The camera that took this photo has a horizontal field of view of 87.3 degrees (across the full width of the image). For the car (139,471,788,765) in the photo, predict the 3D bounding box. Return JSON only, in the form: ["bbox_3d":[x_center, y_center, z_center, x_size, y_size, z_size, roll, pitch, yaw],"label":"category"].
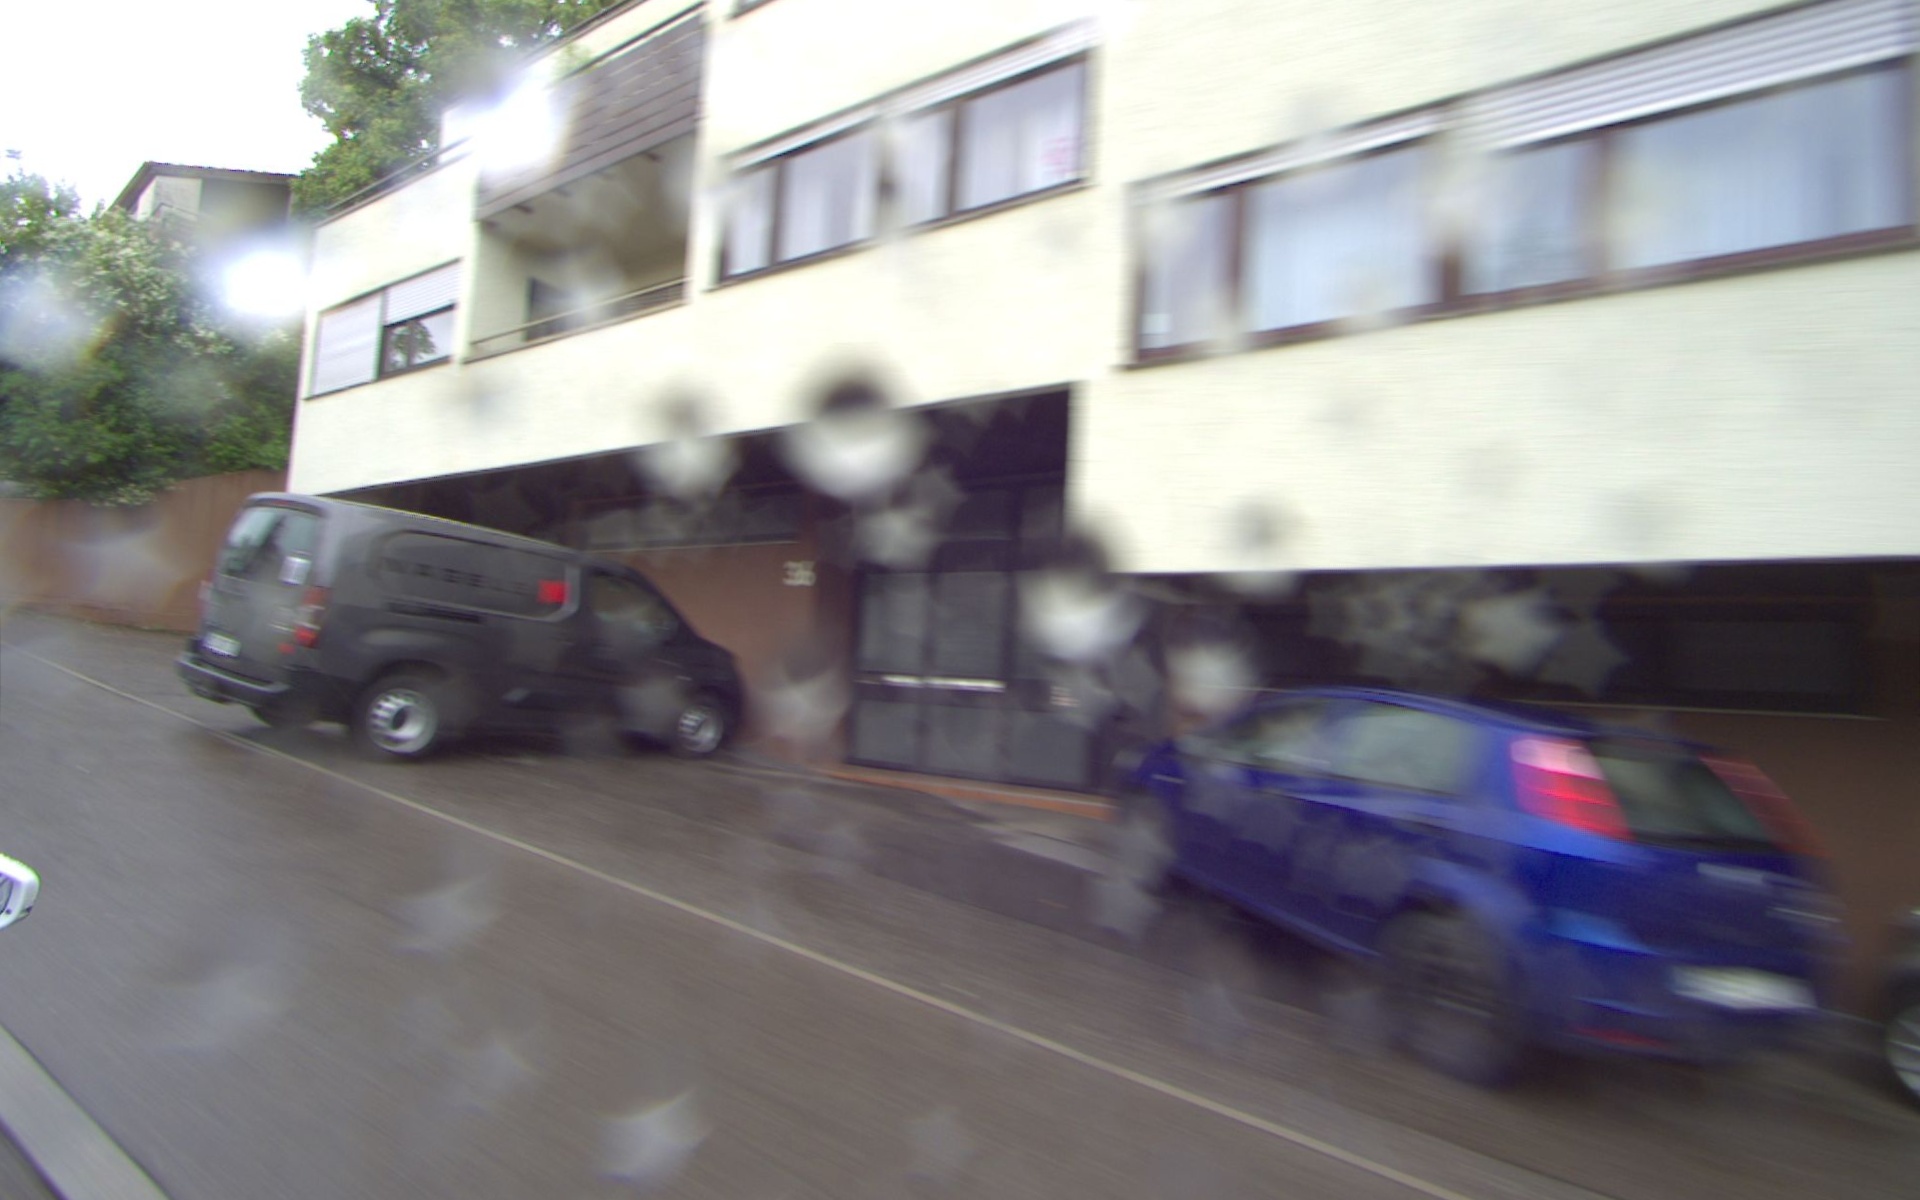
[{"bbox_3d":[-3.953,0.294,8.976,1.967,1.841,4.717,7,-2,32],"label":"car"}]

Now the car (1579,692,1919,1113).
[{"bbox_3d":[5.111,1.470,4.008,1.770,1.595,4.038,11,-4,-30],"label":"car"}]

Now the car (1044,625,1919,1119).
[{"bbox_3d":[2.198,1.094,5.539,1.764,1.595,4.053,10,-4,-19],"label":"car"}]
